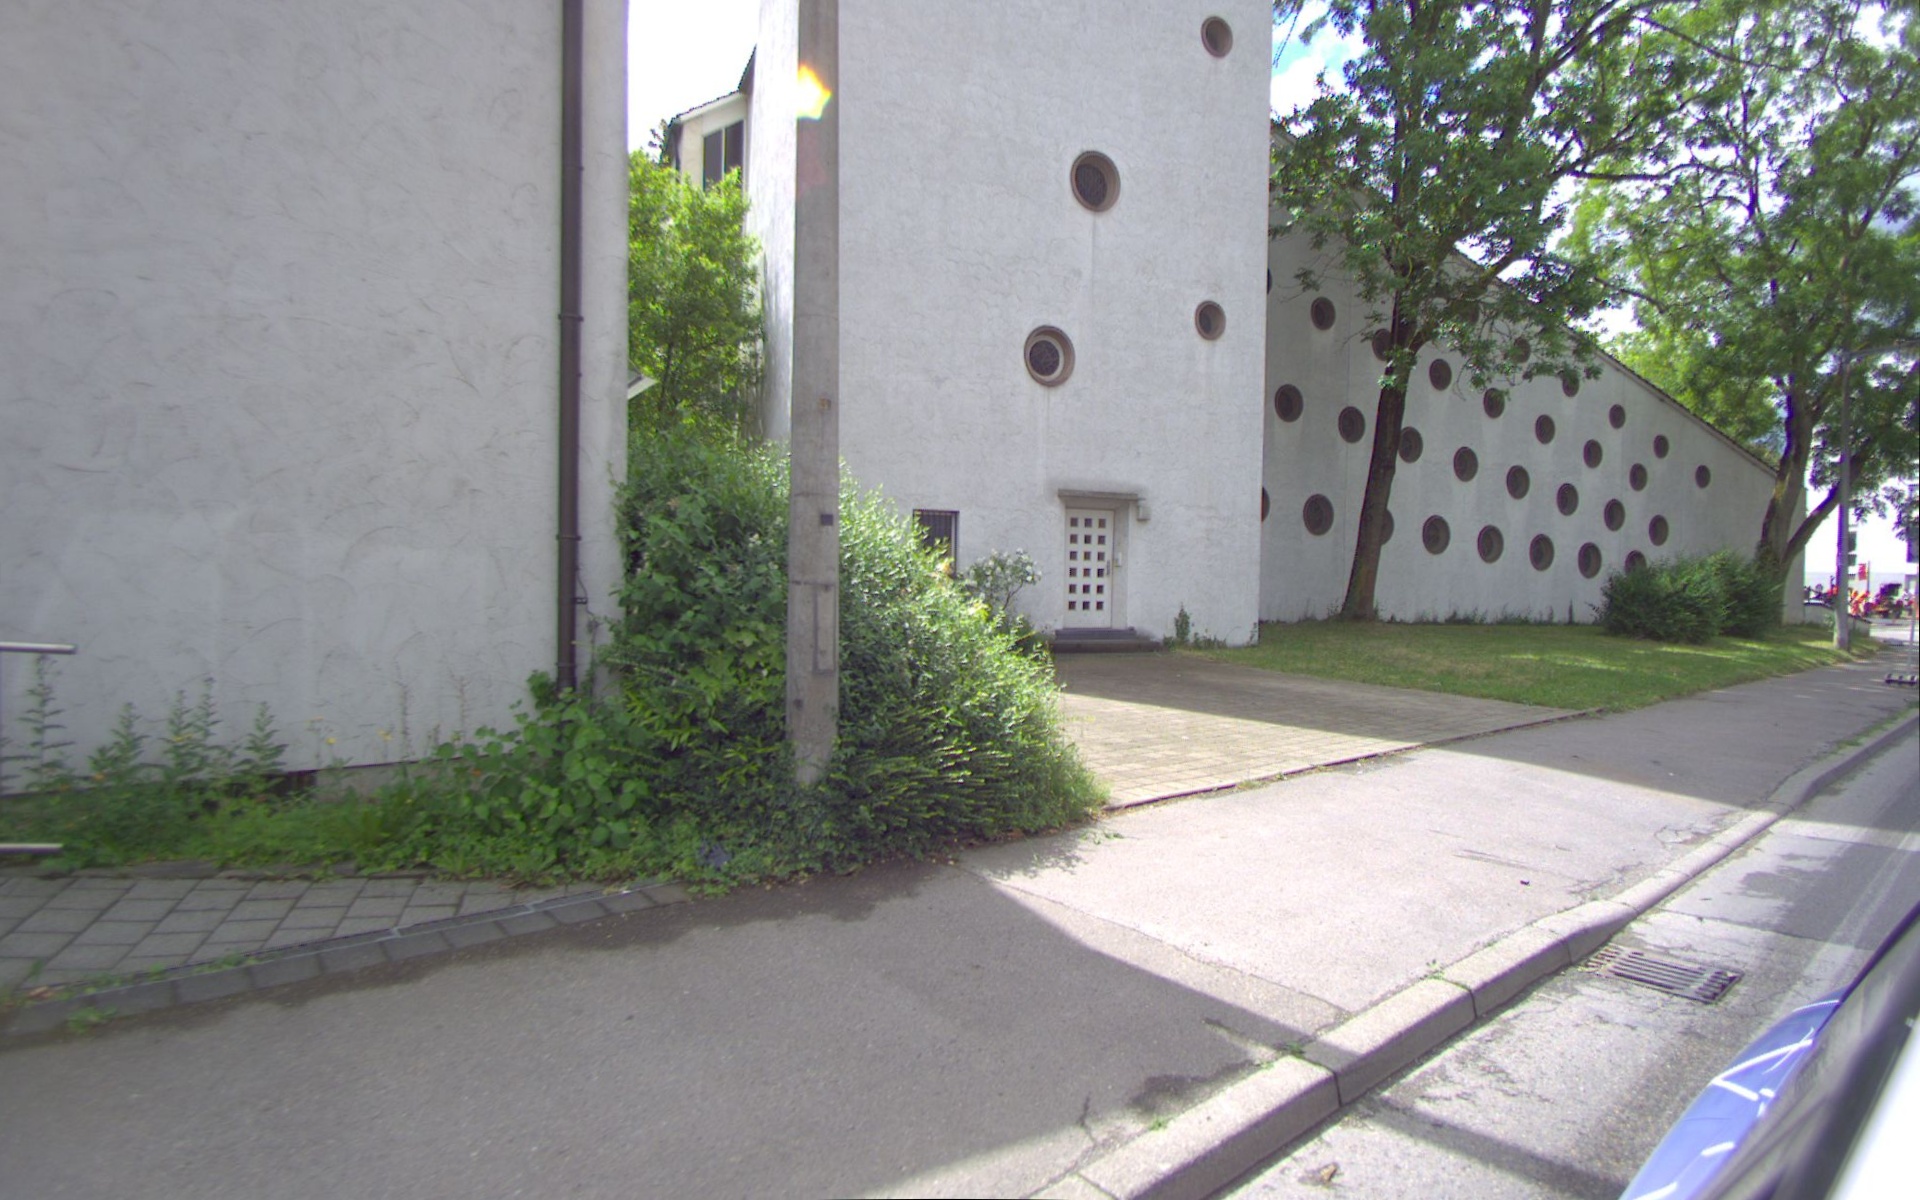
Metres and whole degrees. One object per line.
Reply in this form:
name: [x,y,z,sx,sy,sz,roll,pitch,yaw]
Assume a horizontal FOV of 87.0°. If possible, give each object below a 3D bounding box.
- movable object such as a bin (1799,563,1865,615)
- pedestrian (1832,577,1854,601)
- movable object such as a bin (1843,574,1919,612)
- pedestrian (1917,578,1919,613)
movable object such as a bin: [45.041,-0.601,52.294,1.295,2.626,2.364,0,1,-2]
pedestrian: [44.881,-0.559,51.425,0.540,1.232,0.618,1,1,-2]
movable object such as a bin: [51.451,-0.394,56.240,1.960,2.039,2.971,1,1,-4]
pedestrian: [51.875,-0.234,54.052,0.767,1.862,0.770,1,1,-15]
